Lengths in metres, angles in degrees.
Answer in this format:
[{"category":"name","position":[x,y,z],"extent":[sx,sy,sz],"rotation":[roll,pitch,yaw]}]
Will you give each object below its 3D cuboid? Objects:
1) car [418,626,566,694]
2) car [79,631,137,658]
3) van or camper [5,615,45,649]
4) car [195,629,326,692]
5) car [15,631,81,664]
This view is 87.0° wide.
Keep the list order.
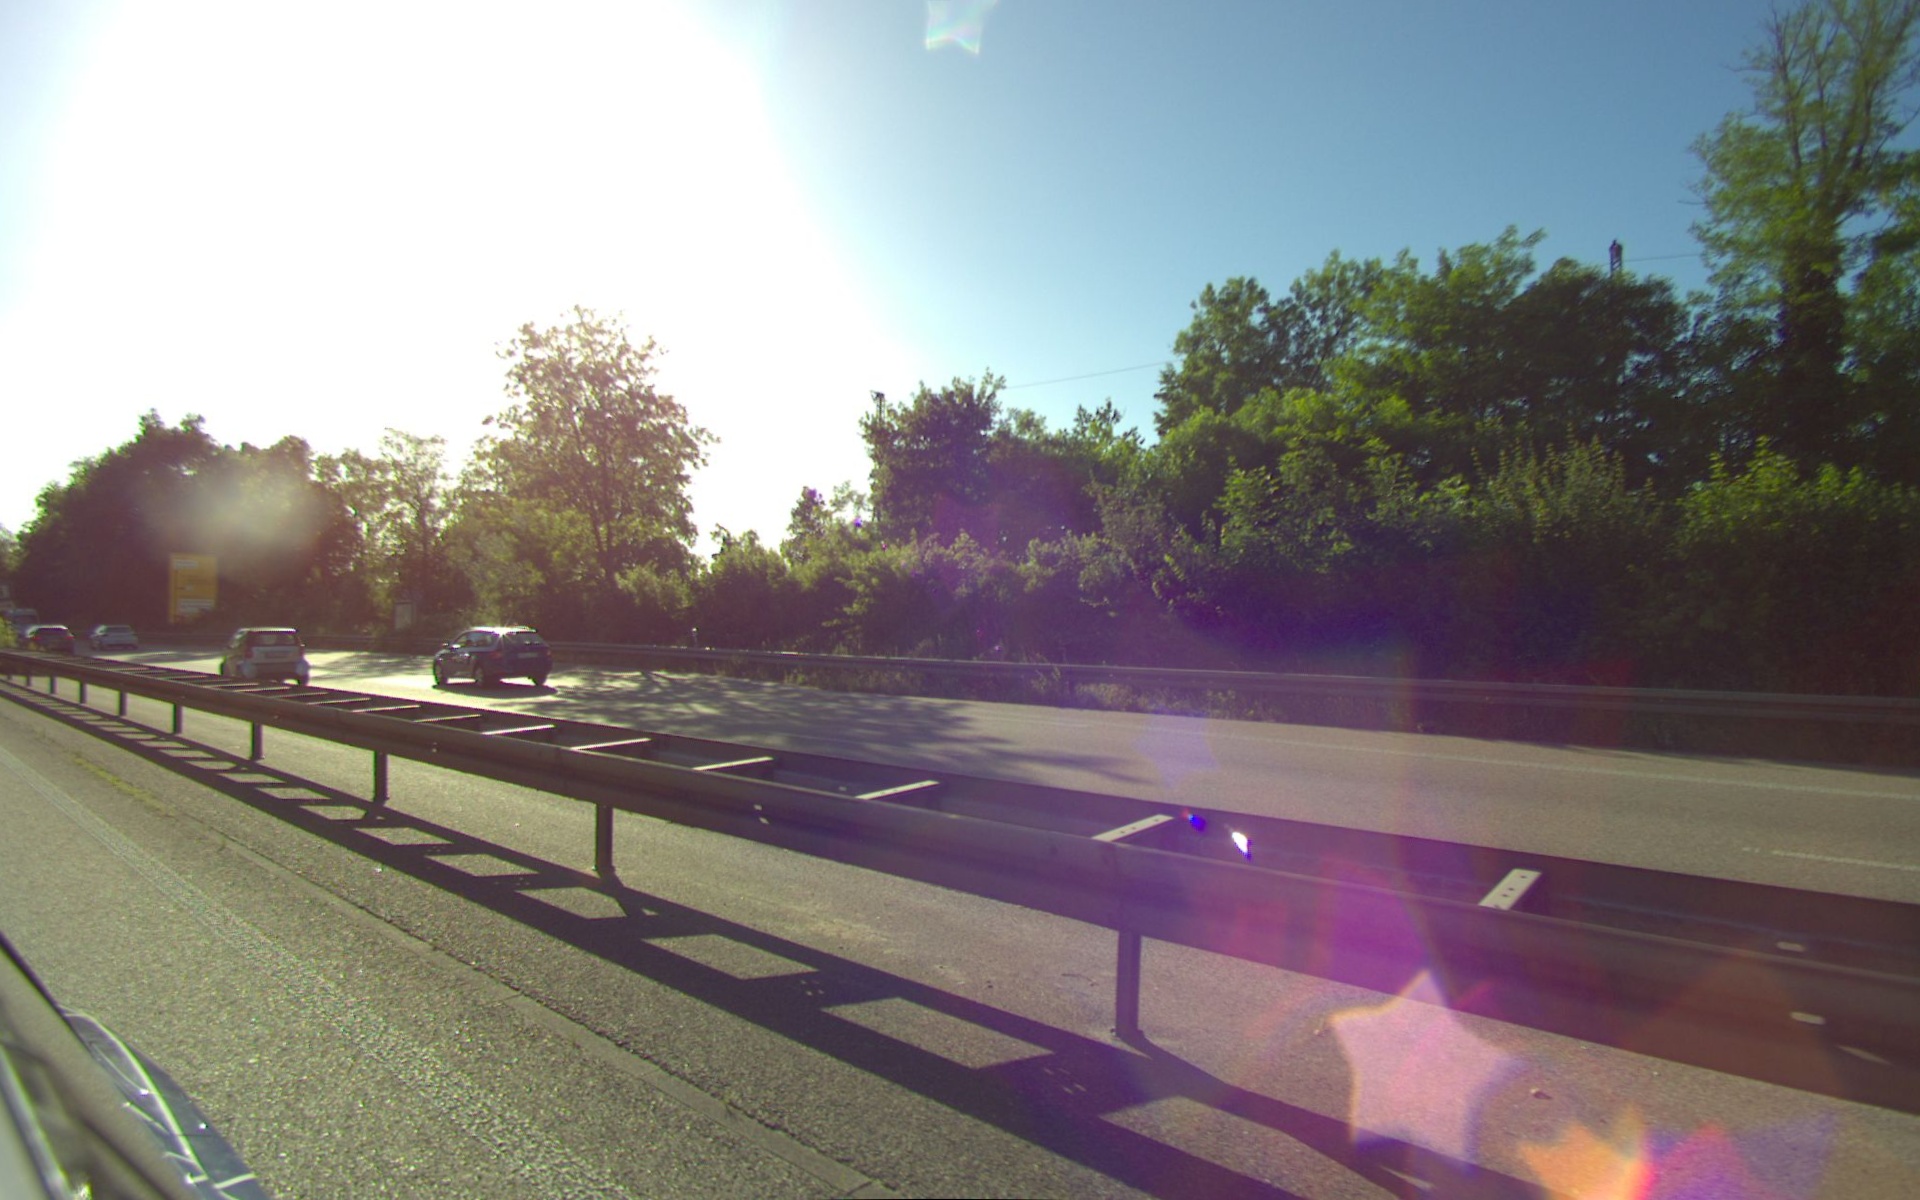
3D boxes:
[{"category":"car","position":[-12.087,1.471,26.020],"extent":[4.428,1.552,1.817],"rotation":[-1,-1,41]},{"category":"car","position":[-49.414,2.559,58.693],"extent":[4.324,1.461,1.940],"rotation":[-2,0,41]},{"category":"van or camper","position":[-79.289,2.711,85.765],"extent":[5.251,2.743,1.972],"rotation":[-2,-2,42]},{"category":"car","position":[-18.975,1.569,27.376],"extent":[4.462,1.552,1.857],"rotation":[-1,-2,41]},{"category":"car","position":[-45.440,2.326,50.401],"extent":[4.462,1.552,1.940],"rotation":[-2,-1,41]}]
